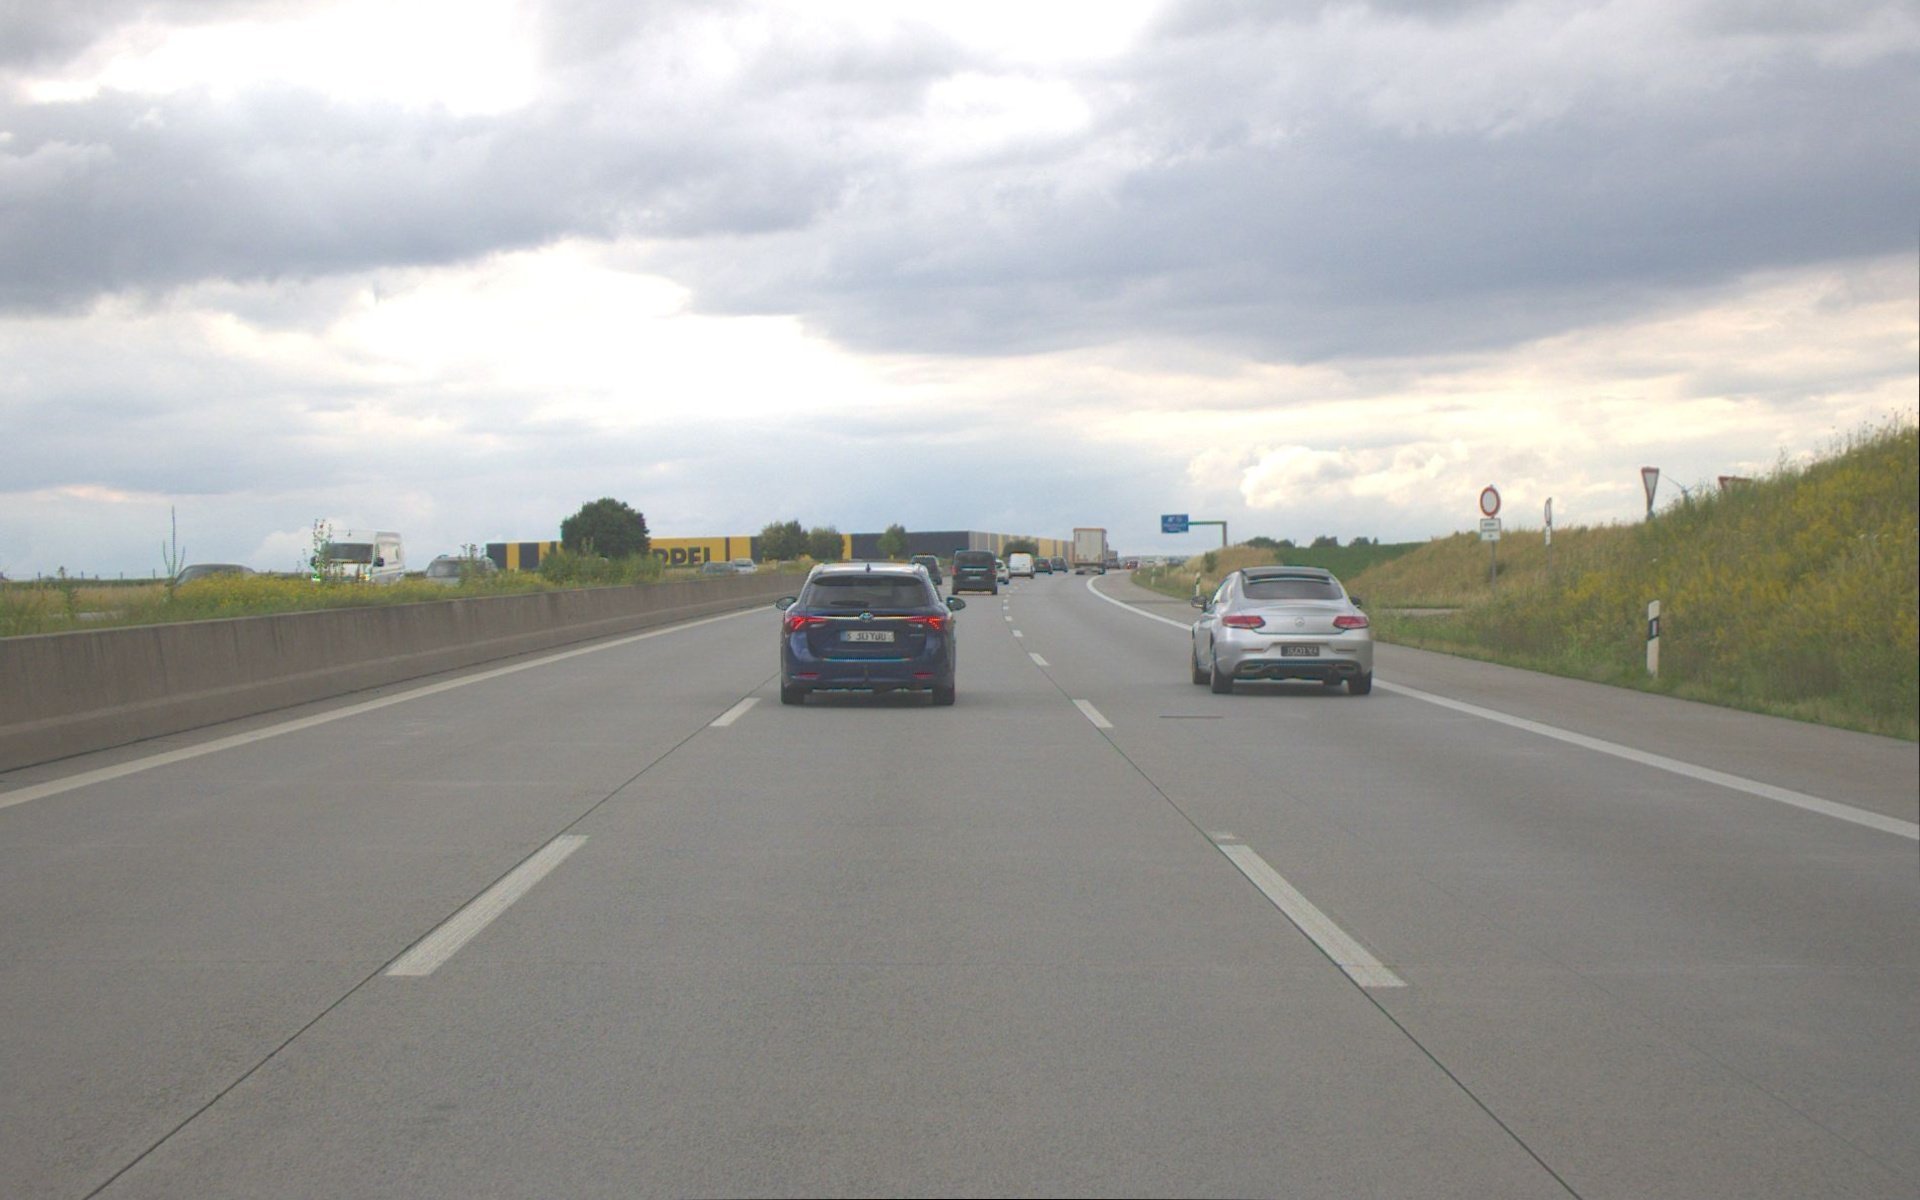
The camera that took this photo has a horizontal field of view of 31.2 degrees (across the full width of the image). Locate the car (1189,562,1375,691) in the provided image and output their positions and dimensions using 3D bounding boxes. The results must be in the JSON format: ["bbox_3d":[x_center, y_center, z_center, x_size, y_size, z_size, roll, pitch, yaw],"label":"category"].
[{"bbox_3d":[3.640,0.271,39.503,1.788,1.399,4.221,0,0,1],"label":"car"}]

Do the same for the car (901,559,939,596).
[{"bbox_3d":[-2.224,-1.265,191.480,2.046,2.007,4.000,1,0,0],"label":"car"}]

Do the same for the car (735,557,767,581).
[{"bbox_3d":[-13.776,-2.021,227.099,1.778,1.502,4.517,1,0,1],"label":"car"}]

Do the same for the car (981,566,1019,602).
[{"bbox_3d":[2.302,-0.947,197.861,1.994,2.007,4.000,1,1,2],"label":"car"}]

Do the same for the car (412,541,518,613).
[{"bbox_3d":[-12.506,-0.604,87.170,1.993,1.775,4.931,0,1,0],"label":"car"}]

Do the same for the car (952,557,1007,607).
[{"bbox_3d":[0.802,-0.747,144.046,1.993,2.007,4.000,1,0,-3],"label":"car"}]

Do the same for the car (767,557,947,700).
[{"bbox_3d":[-1.046,0.266,35.945,1.774,1.408,4.000,0,0,-1],"label":"car"}]

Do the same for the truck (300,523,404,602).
[{"bbox_3d":[-20.255,-1.210,114.894,2.144,2.558,7.448,1,0,0],"label":"truck"}]

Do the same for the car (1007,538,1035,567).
[{"bbox_3d":[4.361,-3.361,245.776,1.993,2.007,4.000,1,0,1],"label":"car"}]
